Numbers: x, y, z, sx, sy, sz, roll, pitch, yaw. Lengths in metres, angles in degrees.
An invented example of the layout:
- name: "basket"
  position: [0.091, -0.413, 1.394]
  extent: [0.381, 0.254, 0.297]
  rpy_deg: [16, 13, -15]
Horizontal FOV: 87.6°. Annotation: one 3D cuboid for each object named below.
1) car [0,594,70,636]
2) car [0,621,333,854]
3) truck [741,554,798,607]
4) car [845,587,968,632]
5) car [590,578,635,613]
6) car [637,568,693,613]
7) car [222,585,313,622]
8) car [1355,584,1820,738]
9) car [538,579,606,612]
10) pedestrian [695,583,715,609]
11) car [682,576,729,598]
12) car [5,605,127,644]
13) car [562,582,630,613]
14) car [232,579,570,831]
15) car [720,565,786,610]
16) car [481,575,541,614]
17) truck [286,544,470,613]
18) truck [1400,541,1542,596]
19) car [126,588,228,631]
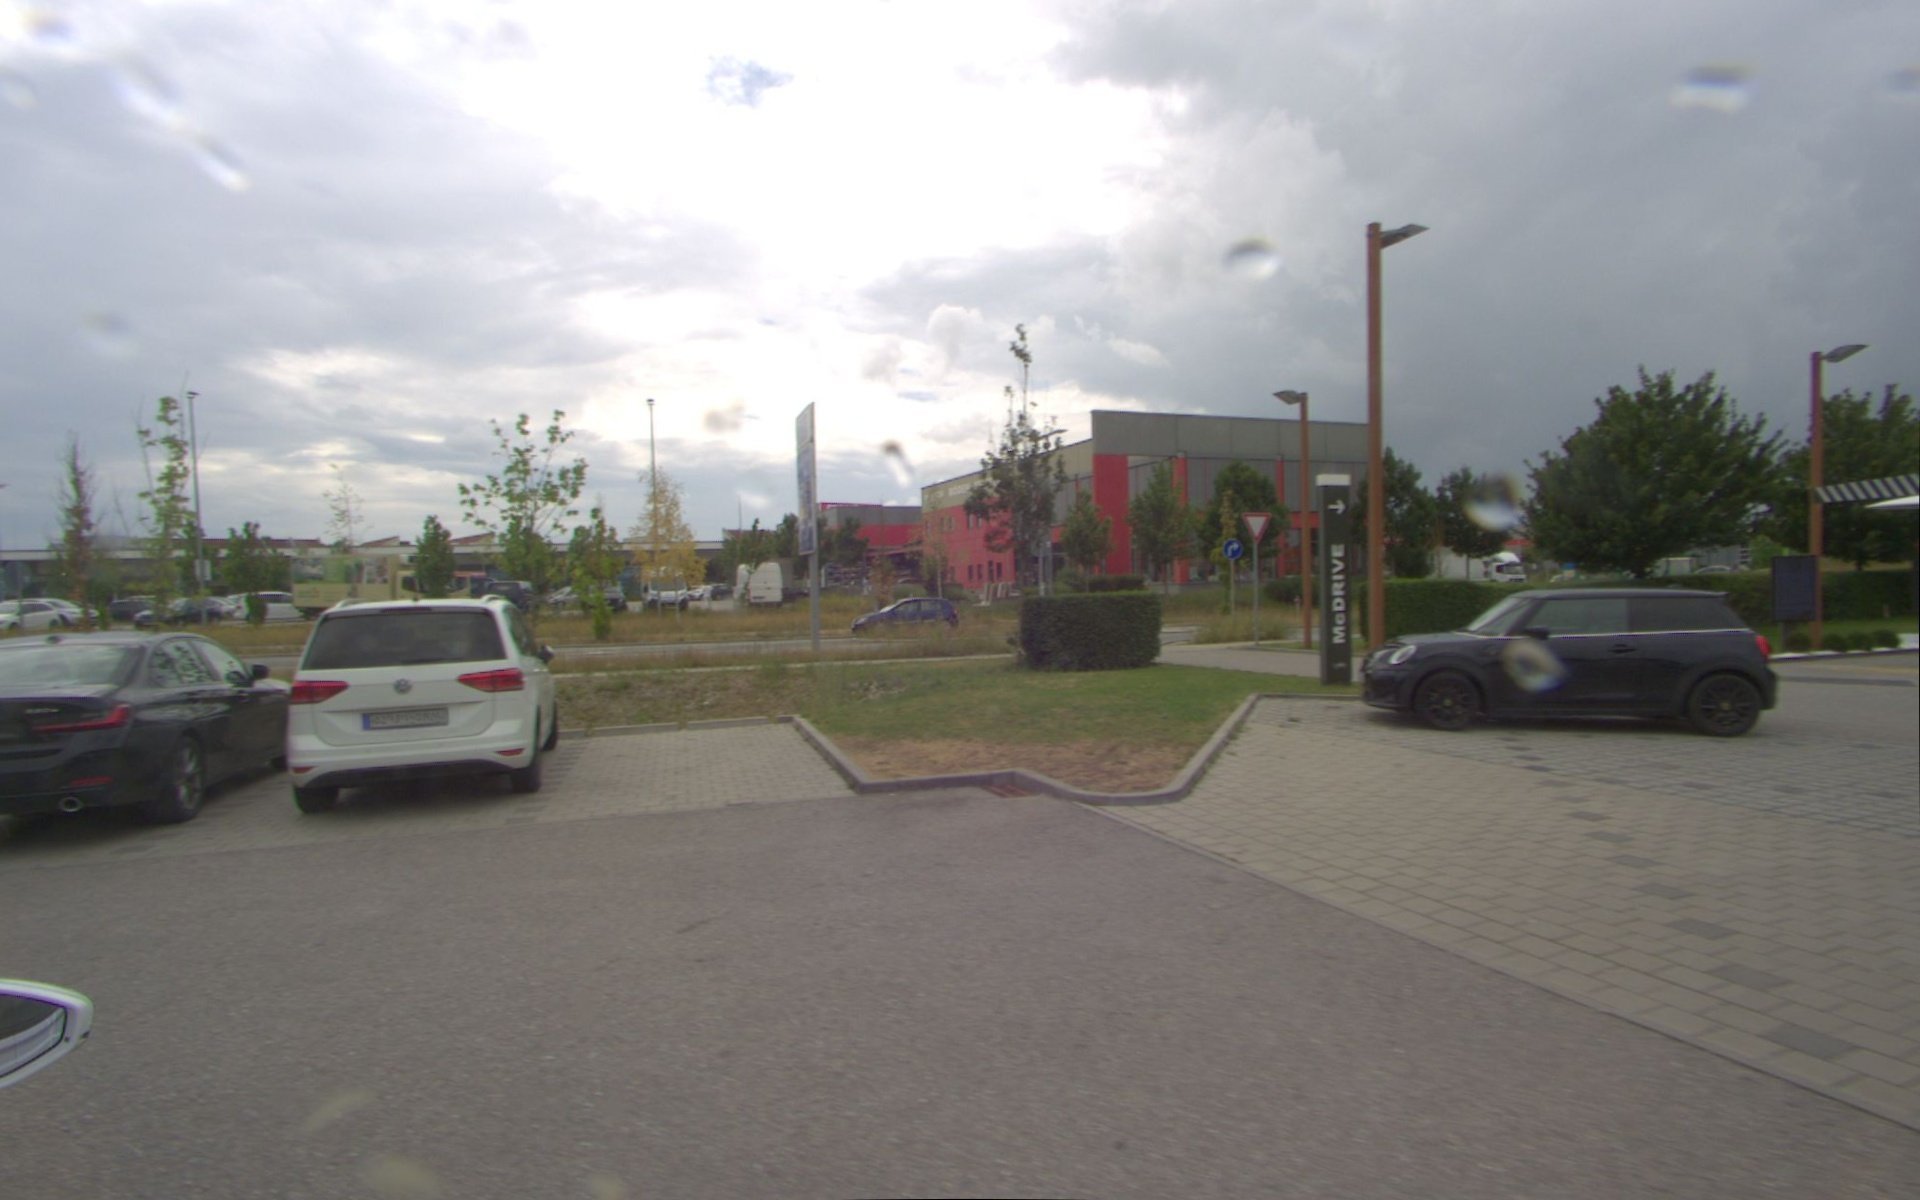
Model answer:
- name: "car"
  position: [-44.896, 0.703, 47.679]
  extent: [1.964, 1.796, 4.311]
  rpy_deg: [-2, 3, -16]
- name: "car"
  position: [-7.077, 0.954, 8.535]
  extent: [1.914, 1.485, 4.507]
  rpy_deg: [-1, -1, -19]
- name: "truck"
  position: [-14.628, -1.579, 76.416]
  extent: [2.612, 3.795, 8.226]
  rpy_deg: [-2, 3, -22]
- name: "car"
  position: [-2.053, 0.323, 38.067]
  extent: [4.341, 1.507, 1.925]
  rpy_deg: [-2, 3, -16]
- name: "car"
  position: [-18.285, -0.279, 52.593]
  extent: [2.042, 1.661, 5.053]
  rpy_deg: [-1, 2, -21]
- name: "car"
  position: [-15.872, -0.562, 53.626]
  extent: [2.375, 2.245, 6.039]
  rpy_deg: [-1, 2, -21]
- name: "car"
  position: [-38.027, 0.163, 55.083]
  extent: [3.944, 1.796, 1.987]
  rpy_deg: [-3, 3, -33]
- name: "car"
  position: [6.360, 0.568, 10.658]
  extent: [3.859, 1.431, 1.684]
  rpy_deg: [0, 1, 17]
- name: "car"
  position: [-25.630, -0.312, 66.197]
  extent: [3.939, 2.042, 1.989]
  rpy_deg: [-2, 3, -28]
- name: "pedestrian"
  position: [-14.744, -0.247, 57.942]
  extent: [0.962, 1.449, 0.784]
  rpy_deg: [-2, 3, -23]
- name: "car"
  position: [-23.301, -1.171, 91.620]
  extent: [3.930, 1.863, 1.994]
  rpy_deg: [-2, 3, -18]
- name: "car"
  position: [-46.518, 1.249, 52.190]
  extent: [4.242, 1.796, 1.917]
  rpy_deg: [-2, 3, -15]
- name: "car"
  position: [-22.792, -0.160, 62.743]
  extent: [3.932, 1.763, 1.884]
  rpy_deg: [-2, 3, -21]
- name: "car"
  position: [-4.827, 0.780, 9.371]
  extent: [1.958, 1.735, 4.364]
  rpy_deg: [-1, -1, -19]
- name: "car"
  position: [-11.533, -0.749, 55.287]
  extent: [2.307, 2.299, 6.481]
  rpy_deg: [-2, 3, -23]
- name: "car"
  position: [-23.129, -0.290, 51.767]
  extent: [2.040, 1.910, 5.061]
  rpy_deg: [-1, 1, -15]
- name: "truck"
  position: [-29.188, -1.063, 50.259]
  extent: [8.279, 3.241, 3.022]
  rpy_deg: [0, 3, 17]
- name: "truck"
  position: [45.516, -2.855, 89.909]
  extent: [3.703, 4.561, 11.957]
  rpy_deg: [-2, 3, -21]
- name: "car"
  position: [-37.640, 0.409, 48.309]
  extent: [1.894, 1.796, 4.315]
  rpy_deg: [-1, 2, -8]
